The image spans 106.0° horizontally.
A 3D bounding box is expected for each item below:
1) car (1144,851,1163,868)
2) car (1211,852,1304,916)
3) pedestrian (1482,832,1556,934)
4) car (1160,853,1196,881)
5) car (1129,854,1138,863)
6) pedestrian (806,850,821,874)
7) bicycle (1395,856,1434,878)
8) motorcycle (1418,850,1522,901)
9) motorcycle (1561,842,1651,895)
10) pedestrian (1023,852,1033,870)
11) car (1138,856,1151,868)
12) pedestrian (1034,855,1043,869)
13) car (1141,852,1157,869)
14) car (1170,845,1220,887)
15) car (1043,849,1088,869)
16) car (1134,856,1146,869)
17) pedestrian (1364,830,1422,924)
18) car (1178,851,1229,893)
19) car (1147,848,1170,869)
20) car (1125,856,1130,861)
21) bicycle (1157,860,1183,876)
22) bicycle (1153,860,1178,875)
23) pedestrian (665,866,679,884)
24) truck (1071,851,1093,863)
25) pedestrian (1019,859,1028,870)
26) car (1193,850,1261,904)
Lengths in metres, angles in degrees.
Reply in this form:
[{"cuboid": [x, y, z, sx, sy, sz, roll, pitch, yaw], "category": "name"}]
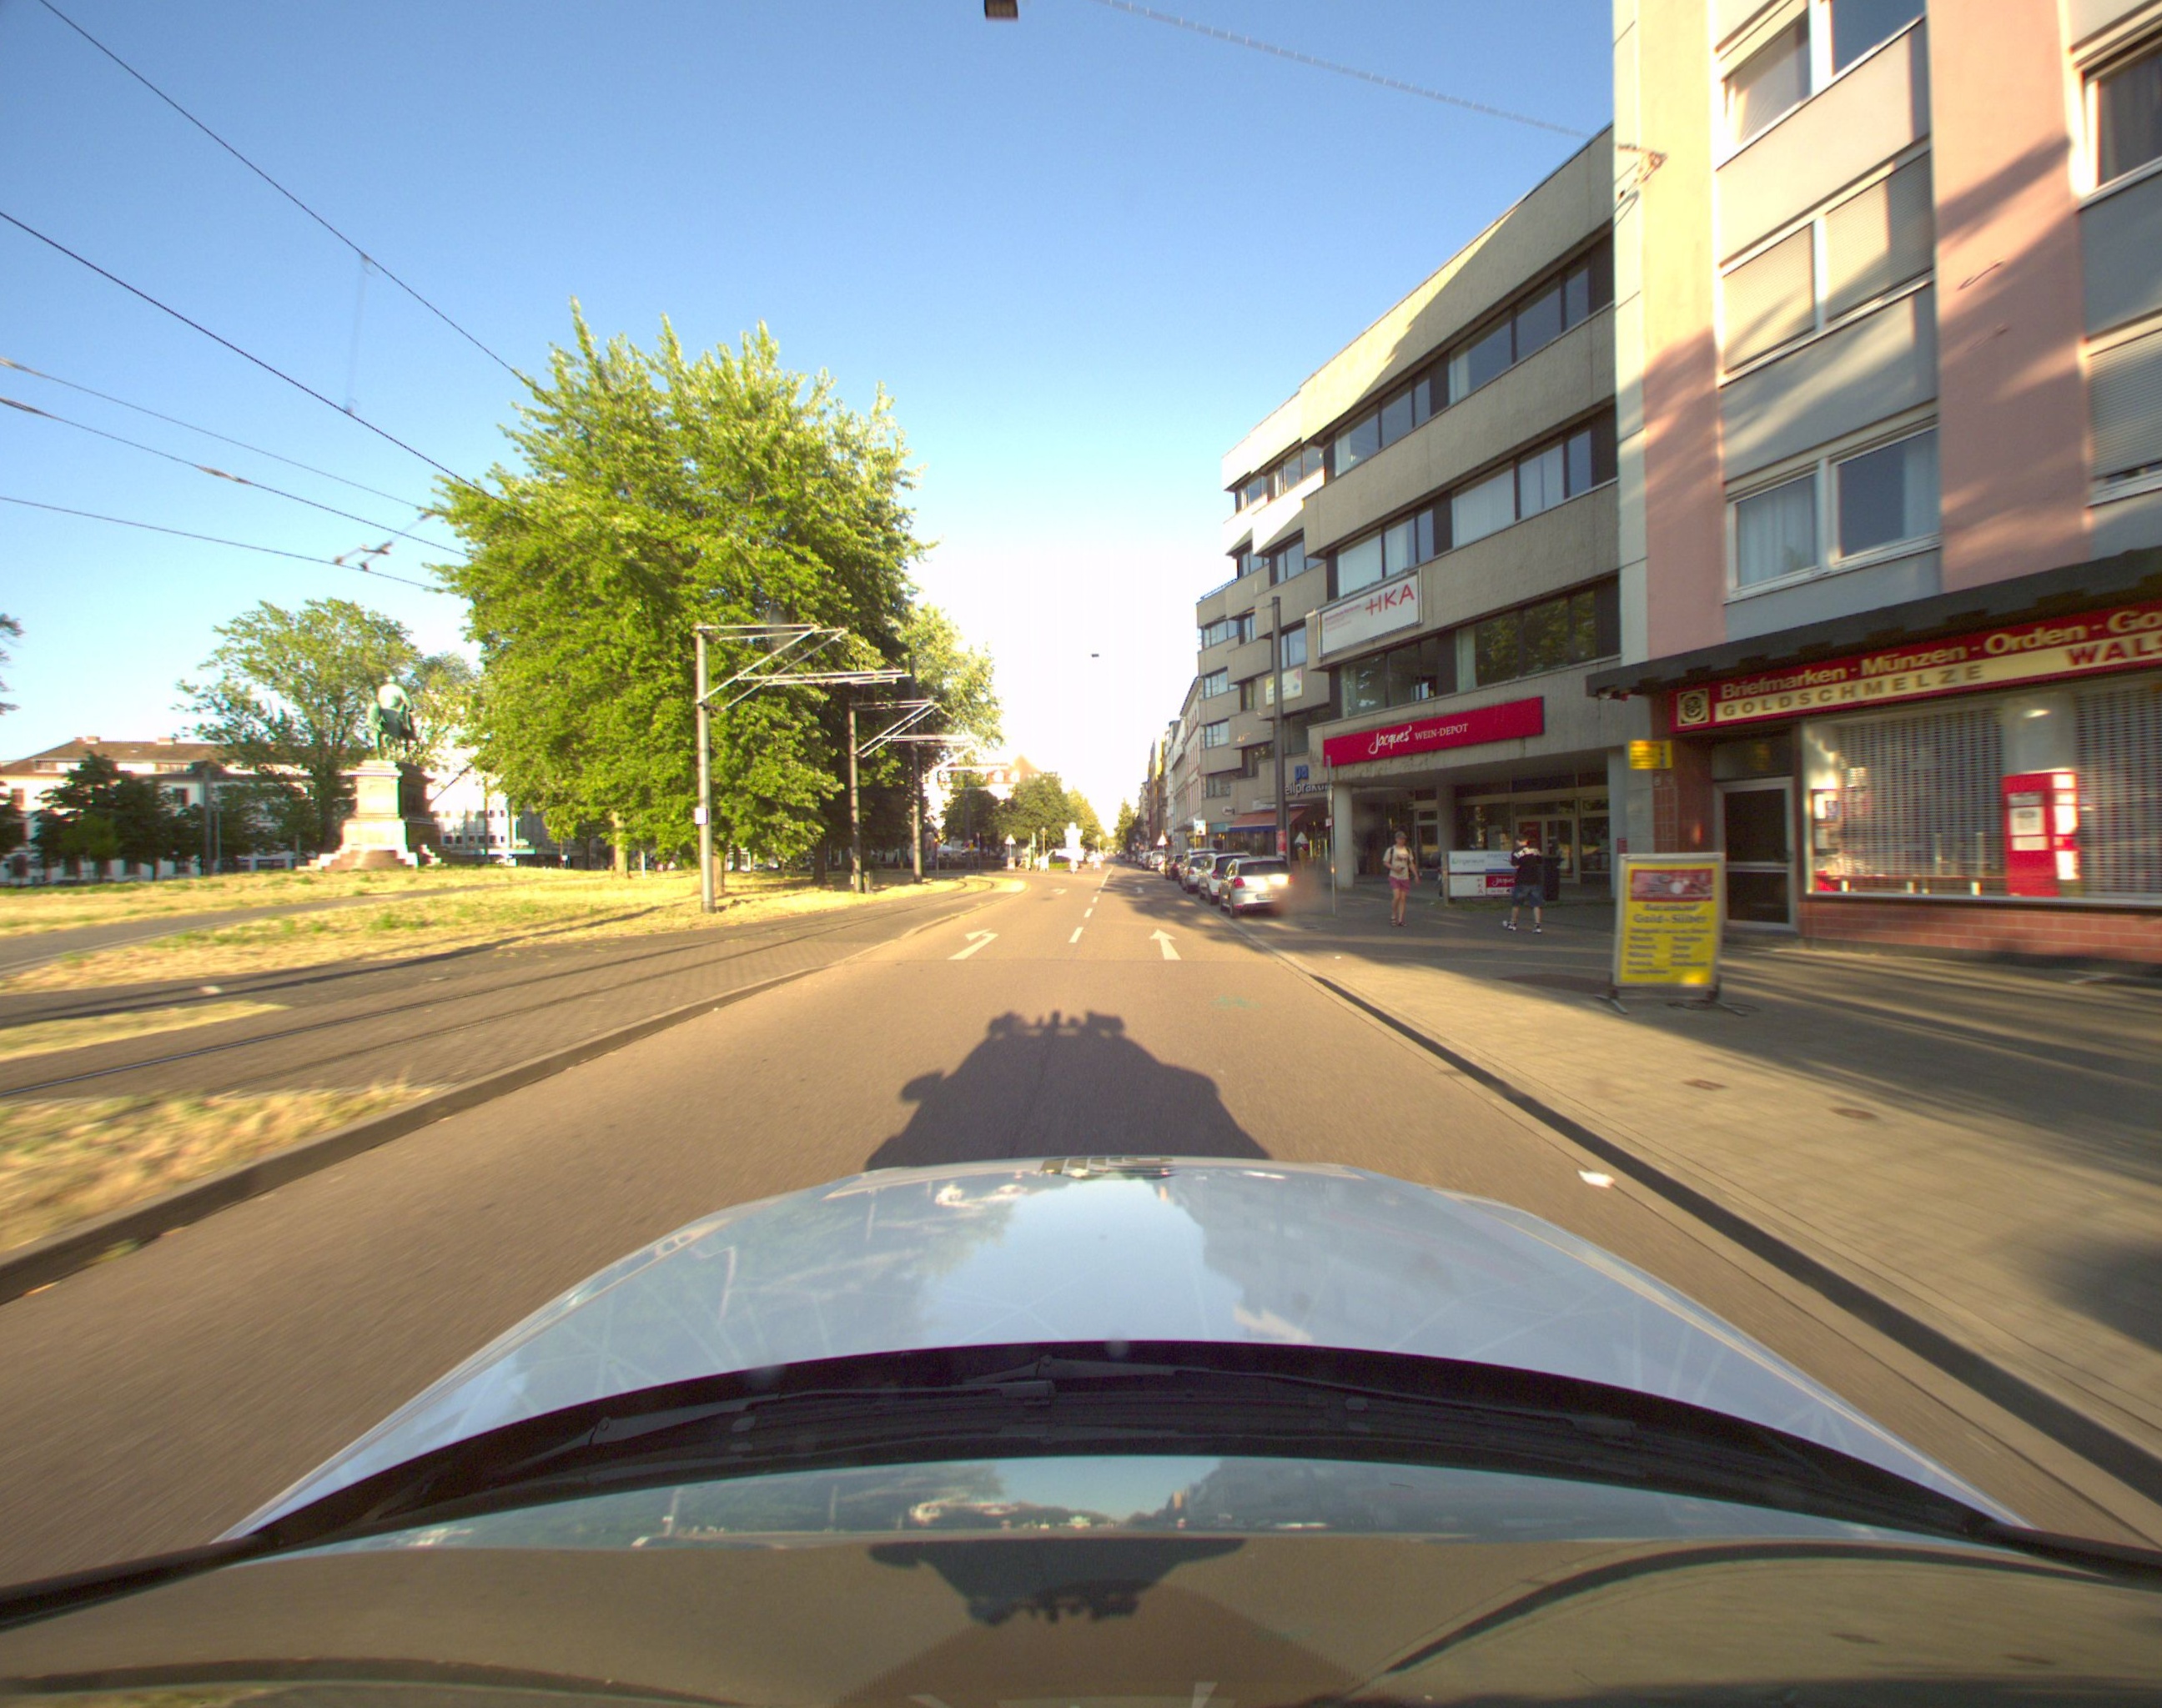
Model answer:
[{"cuboid": [7.066, 0.509, 79.698, 1.650, 1.665, 4.110, 0, 0, 2], "category": "car"}, {"cuboid": [4.428, 0.717, 20.973, 1.777, 1.456, 4.004, -1, -1, 4], "category": "car"}, {"cuboid": [7.384, 0.468, 13.750, 0.641, 1.627, 0.851, -2, 1, -21], "category": "pedestrian"}, {"cuboid": [5.354, 0.680, 45.301, 1.782, 1.507, 3.924, 0, 0, 3], "category": "car"}, {"cuboid": [10.730, 0.938, 165.380, 1.571, 1.543, 3.396, -3, -1, 0], "category": "car"}, {"cuboid": [-18.867, 0.587, 57.499, 0.741, 1.699, 0.824, 0, -2, 2], "category": "pedestrian"}, {"cuboid": [13.069, 0.494, 31.893, 1.391, 0.828, 0.436, 0, 0, -8], "category": "bicycle"}, {"cuboid": [9.454, 0.510, 19.824, 2.274, 1.190, 0.703, -1, 0, -8], "category": "motorcycle"}, {"cuboid": [13.346, 0.367, 20.744, 1.777, 1.293, 0.672, -2, 0, 17], "category": "motorcycle"}, {"cuboid": [-4.891, 0.643, 75.222, 0.702, 1.559, 0.687, 0, 0, -35], "category": "pedestrian"}, {"cuboid": [9.239, 1.188, 118.201, 1.672, 1.561, 4.005, -3, 0, 5], "category": "car"}, {"cuboid": [-3.962, 0.739, 75.419, 0.566, 1.364, 0.607, 0, 0, -35], "category": "pedestrian"}, {"cuboid": [7.618, 0.688, 92.114, 1.702, 1.835, 4.310, 0, 0, 3], "category": "car"}, {"cuboid": [5.197, 0.535, 37.607, 1.777, 1.804, 4.402, 0, 0, 1], "category": "car"}, {"cuboid": [-1.792, 0.536, 91.834, 4.620, 2.251, 2.185, 0, -1, -25], "category": "car"}, {"cuboid": [8.950, 1.291, 123.298, 1.690, 1.769, 4.002, -2, 0, 2], "category": "car"}, {"cuboid": [6.105, 0.439, 15.950, 0.641, 1.786, 0.851, 0, 0, -21], "category": "pedestrian"}, {"cuboid": [4.789, 0.657, 32.210, 1.634, 1.528, 4.003, 0, 0, 3], "category": "car"}, {"cuboid": [7.002, 0.390, 73.927, 1.785, 1.792, 4.094, -1, -1, 3], "category": "car"}, {"cuboid": [11.223, 1.059, 197.174, 1.202, 1.300, 2.660, -1, -1, 0], "category": "car"}, {"cuboid": [6.357, 0.975, 58.225, 1.775, 0.990, 0.544, -4, 1, 13], "category": "bicycle"}, {"cuboid": [6.430, 1.027, 62.225, 1.771, 0.990, 0.545, -4, 1, 25], "category": "bicycle"}, {"cuboid": [-43.319, 2.230, 86.204, 0.858, 1.839, 0.997, 0, 2, 3], "category": "pedestrian"}, {"cuboid": [0.260, 0.738, 188.249, 4.922, 2.615, 2.001, -1, -1, 1], "category": "truck"}, {"cuboid": [-6.494, 1.165, 92.337, 0.752, 1.277, 0.654, 0, 0, -35], "category": "pedestrian"}, {"cuboid": [4.576, 0.672, 25.903, 1.579, 1.590, 3.668, 0, 0, 1], "category": "car"}]
